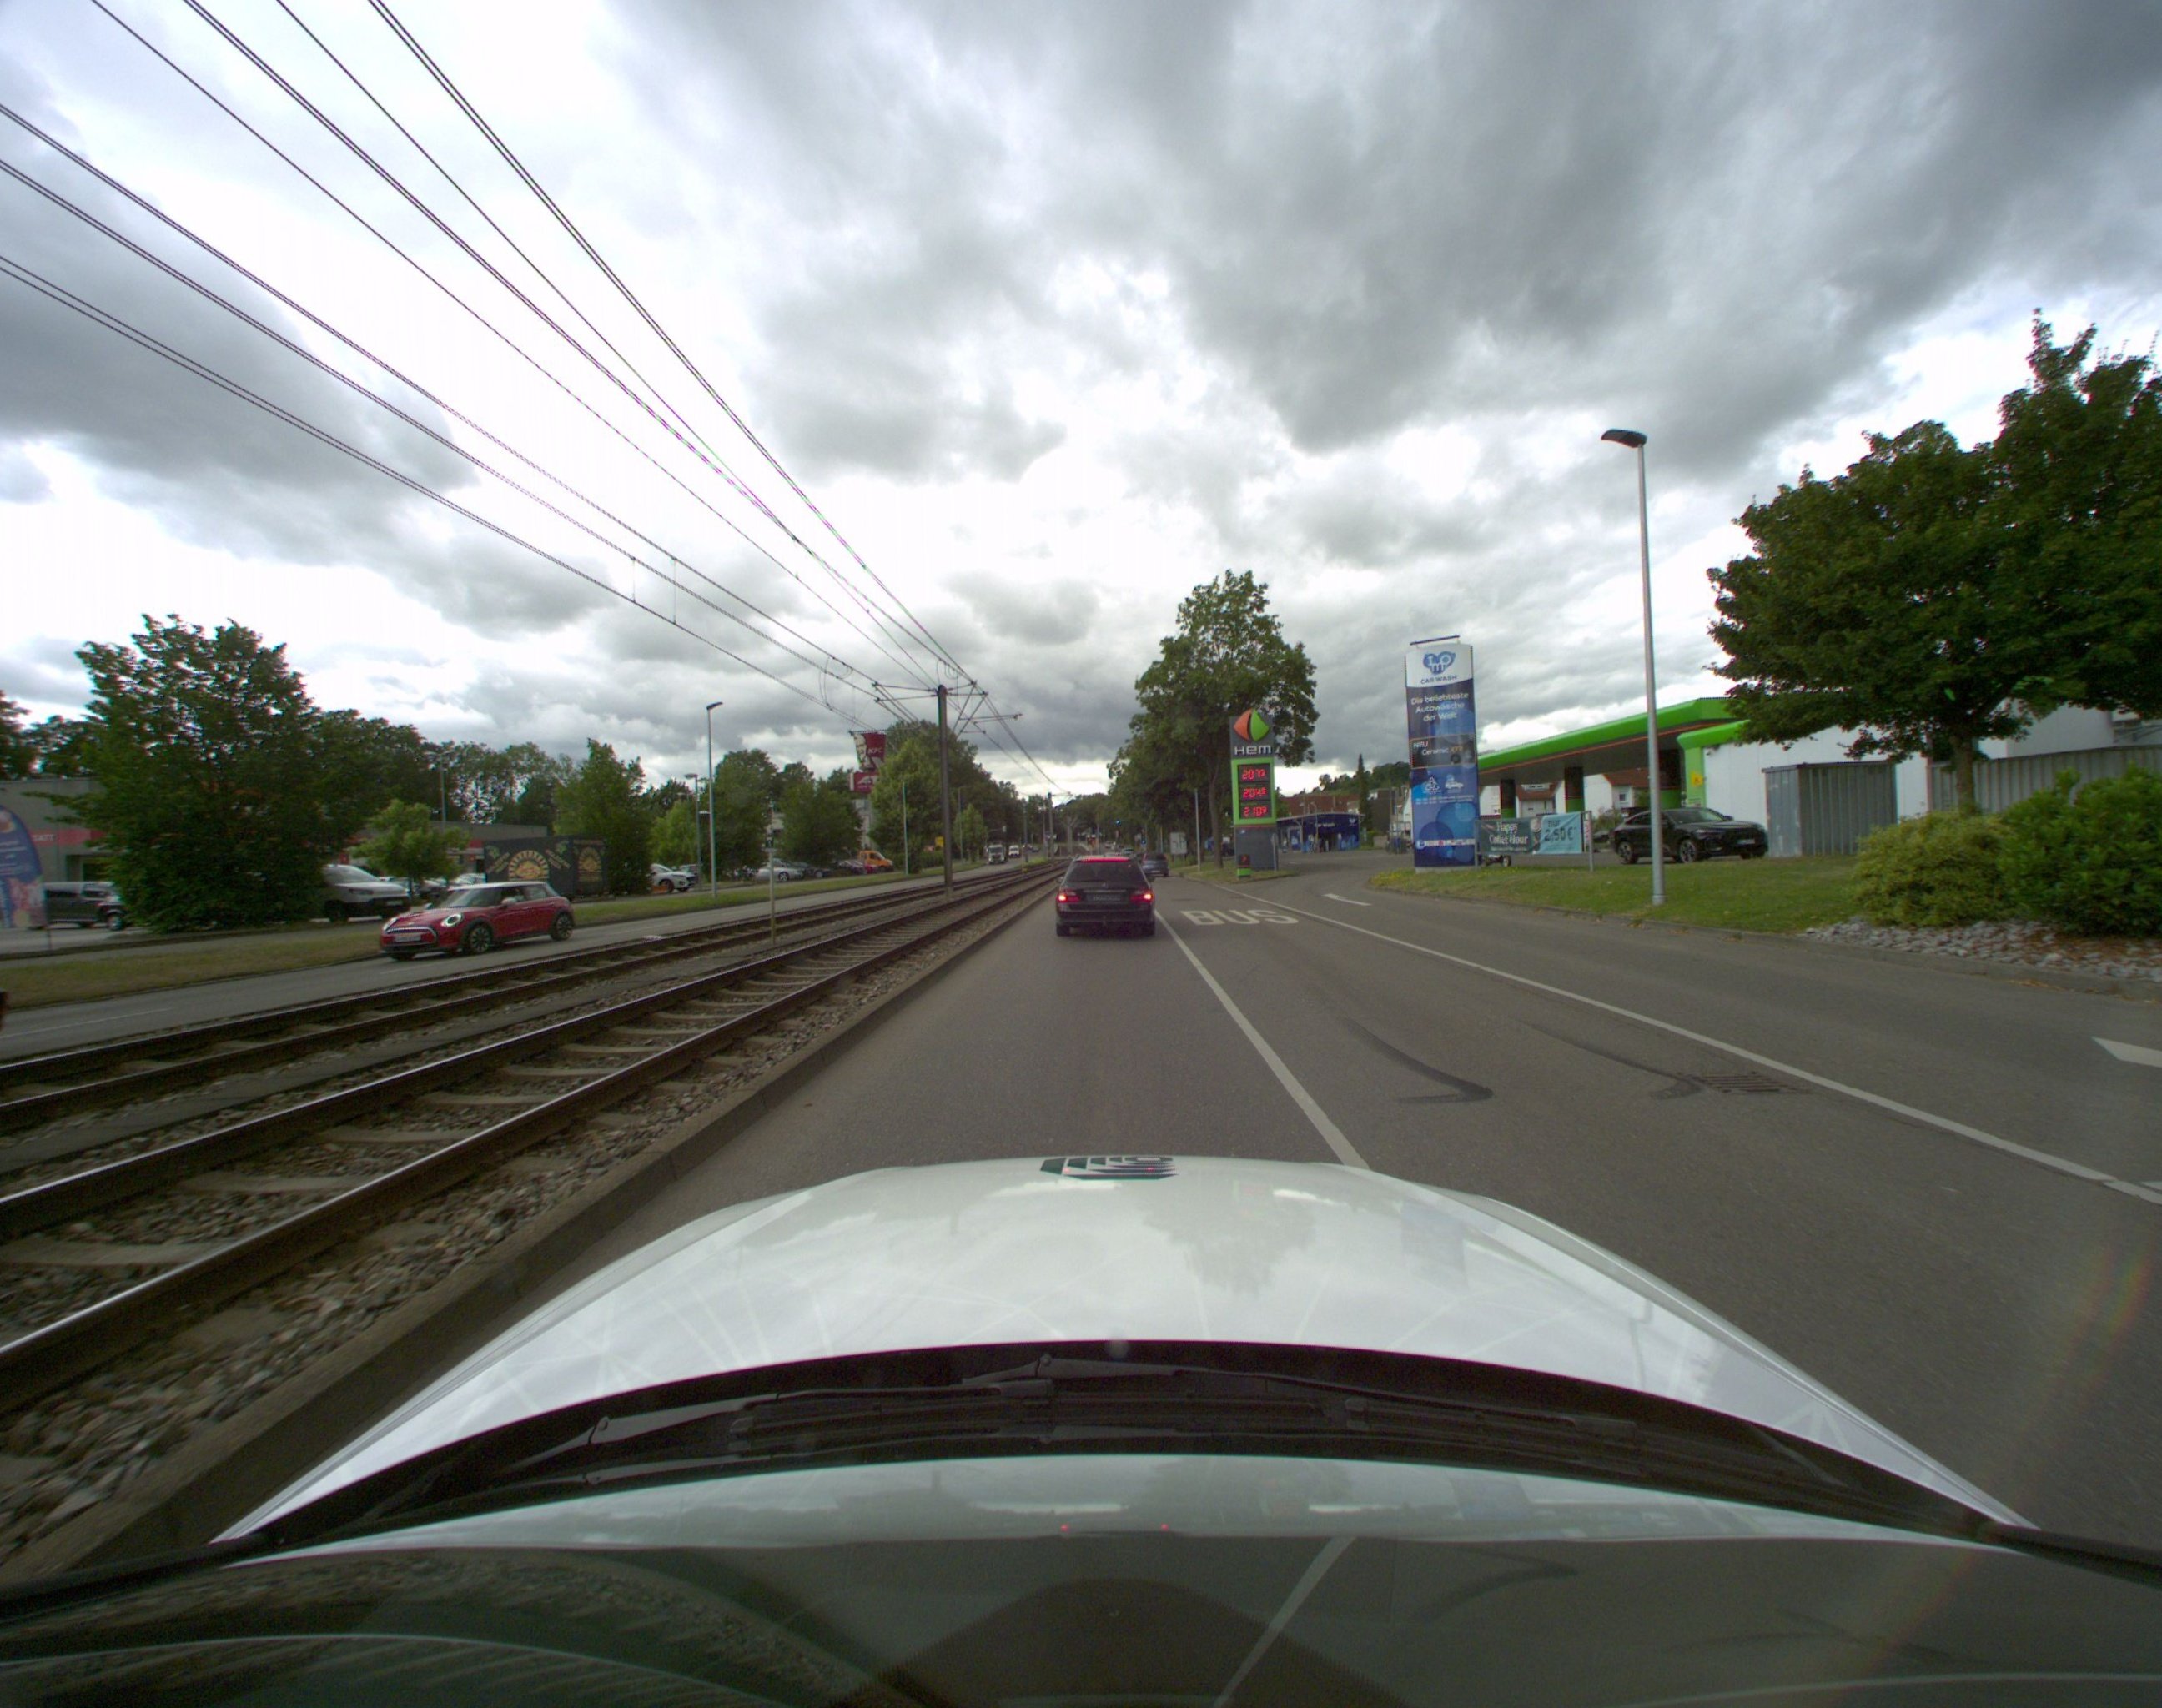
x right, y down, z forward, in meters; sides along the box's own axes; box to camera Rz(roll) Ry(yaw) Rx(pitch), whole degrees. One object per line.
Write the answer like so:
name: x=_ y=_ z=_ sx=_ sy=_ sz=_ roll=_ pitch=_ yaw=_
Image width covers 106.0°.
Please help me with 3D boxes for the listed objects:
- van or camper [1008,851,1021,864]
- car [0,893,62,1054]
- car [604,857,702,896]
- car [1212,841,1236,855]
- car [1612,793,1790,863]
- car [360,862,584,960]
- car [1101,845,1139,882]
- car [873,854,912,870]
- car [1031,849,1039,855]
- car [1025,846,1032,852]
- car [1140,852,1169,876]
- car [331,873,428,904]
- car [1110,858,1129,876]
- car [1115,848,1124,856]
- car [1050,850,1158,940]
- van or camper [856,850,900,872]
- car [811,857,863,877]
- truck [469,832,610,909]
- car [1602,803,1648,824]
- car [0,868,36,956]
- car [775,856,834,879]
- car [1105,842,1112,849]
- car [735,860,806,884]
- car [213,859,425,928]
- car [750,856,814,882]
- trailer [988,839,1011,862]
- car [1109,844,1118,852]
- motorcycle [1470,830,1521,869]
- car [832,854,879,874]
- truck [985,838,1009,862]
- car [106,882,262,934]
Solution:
van or camper: x=-13.511 y=0.724 z=165.122 sx=1.987 sy=2.354 sz=5.764 roll=-3 pitch=0 yaw=0
car: x=-10.436 y=1.134 z=5.348 sx=1.753 sy=1.401 sz=4.444 roll=-5 pitch=0 yaw=1
car: x=-22.235 y=1.138 z=42.431 sx=3.978 sy=1.797 sz=1.876 roll=-3 pitch=0 yaw=-3
car: x=19.173 y=-0.844 z=109.088 sx=1.987 sy=1.682 sz=4.607 roll=-3 pitch=0 yaw=26
car: x=17.620 y=-0.660 z=23.466 sx=1.814 sy=1.674 sz=4.338 roll=-4 pitch=-1 yaw=2
car: x=-12.951 y=1.116 z=17.684 sx=1.786 sy=1.772 sz=3.999 roll=-2 pitch=0 yaw=0
car: x=1.912 y=0.465 z=40.702 sx=1.774 sy=1.750 sz=3.719 roll=0 pitch=0 yaw=2
car: x=-21.020 y=0.843 z=90.938 sx=3.978 sy=1.599 sz=1.794 roll=-3 pitch=0 yaw=-3
car: x=-11.785 y=-0.541 z=209.108 sx=1.758 sy=1.647 sz=3.772 roll=-1 pitch=0 yaw=2
car: x=-15.045 y=-1.382 z=234.583 sx=1.758 sy=1.647 sz=3.772 roll=-1 pitch=0 yaw=2
car: x=4.407 y=0.602 z=49.126 sx=1.565 sy=1.414 sz=3.355 roll=0 pitch=0 yaw=2
car: x=-38.830 y=1.885 z=45.142 sx=3.736 sy=1.472 sz=1.677 roll=-3 pitch=0 yaw=-5
car: x=2.989 y=1.018 z=64.120 sx=1.460 sy=1.414 sz=3.355 roll=0 pitch=0 yaw=2
car: x=8.128 y=-0.428 z=173.259 sx=1.662 sy=1.532 sz=3.768 roll=-1 pitch=0 yaw=-2
car: x=0.450 y=0.682 z=15.629 sx=1.801 sy=1.474 sz=3.882 roll=-1 pitch=0 yaw=2
van or camper: x=-20.489 y=0.694 z=82.319 sx=3.978 sy=2.135 sz=1.876 roll=-1 pitch=0 yaw=-3
car: x=-21.556 y=1.141 z=72.109 sx=3.978 sy=1.599 sz=1.876 roll=-3 pitch=0 yaw=-3
truck: x=-21.898 y=0.655 z=33.069 sx=3.975 sy=2.821 sz=2.375 roll=-3 pitch=0 yaw=-1
car: x=51.457 y=-3.792 z=77.102 sx=1.683 sy=1.684 sz=4.002 roll=-3 pitch=0 yaw=2
car: x=-22.757 y=1.211 z=14.549 sx=4.762 sy=1.628 sz=2.654 roll=-2 pitch=1 yaw=2
car: x=-21.936 y=1.067 z=64.692 sx=3.978 sy=1.599 sz=1.876 roll=-3 pitch=0 yaw=-3
car: x=7.232 y=-2.286 z=215.383 sx=1.986 sy=1.838 sz=4.001 roll=-1 pitch=0 yaw=2
car: x=-21.758 y=1.246 z=57.131 sx=4.294 sy=1.472 sz=1.680 roll=-2 pitch=0 yaw=-1
car: x=-22.263 y=1.109 z=23.930 sx=4.207 sy=1.727 sz=1.995 roll=-3 pitch=0 yaw=-1
car: x=-21.899 y=1.085 z=59.803 sx=3.978 sy=1.635 sz=1.876 roll=-3 pitch=0 yaw=-3
trailer: x=-13.767 y=-0.508 z=139.157 sx=2.697 sy=3.660 sz=13.291 roll=-3 pitch=0 yaw=-1
car: x=7.612 y=-1.371 z=192.462 sx=1.986 sy=1.714 sz=4.002 roll=-2 pitch=0 yaw=2
motorcycle: x=15.127 y=-0.169 z=29.813 sx=0.852 sy=1.331 sz=1.991 roll=-3 pitch=0 yaw=2
car: x=-21.381 y=0.960 z=77.304 sx=3.978 sy=1.797 sz=1.876 roll=-1 pitch=0 yaw=-3
truck: x=-13.675 y=-0.655 z=133.150 sx=2.698 sy=3.663 sz=11.106 roll=-3 pitch=0 yaw=-1
car: x=-33.526 y=1.996 z=30.519 sx=3.907 sy=1.639 sz=1.688 roll=-3 pitch=0 yaw=1
